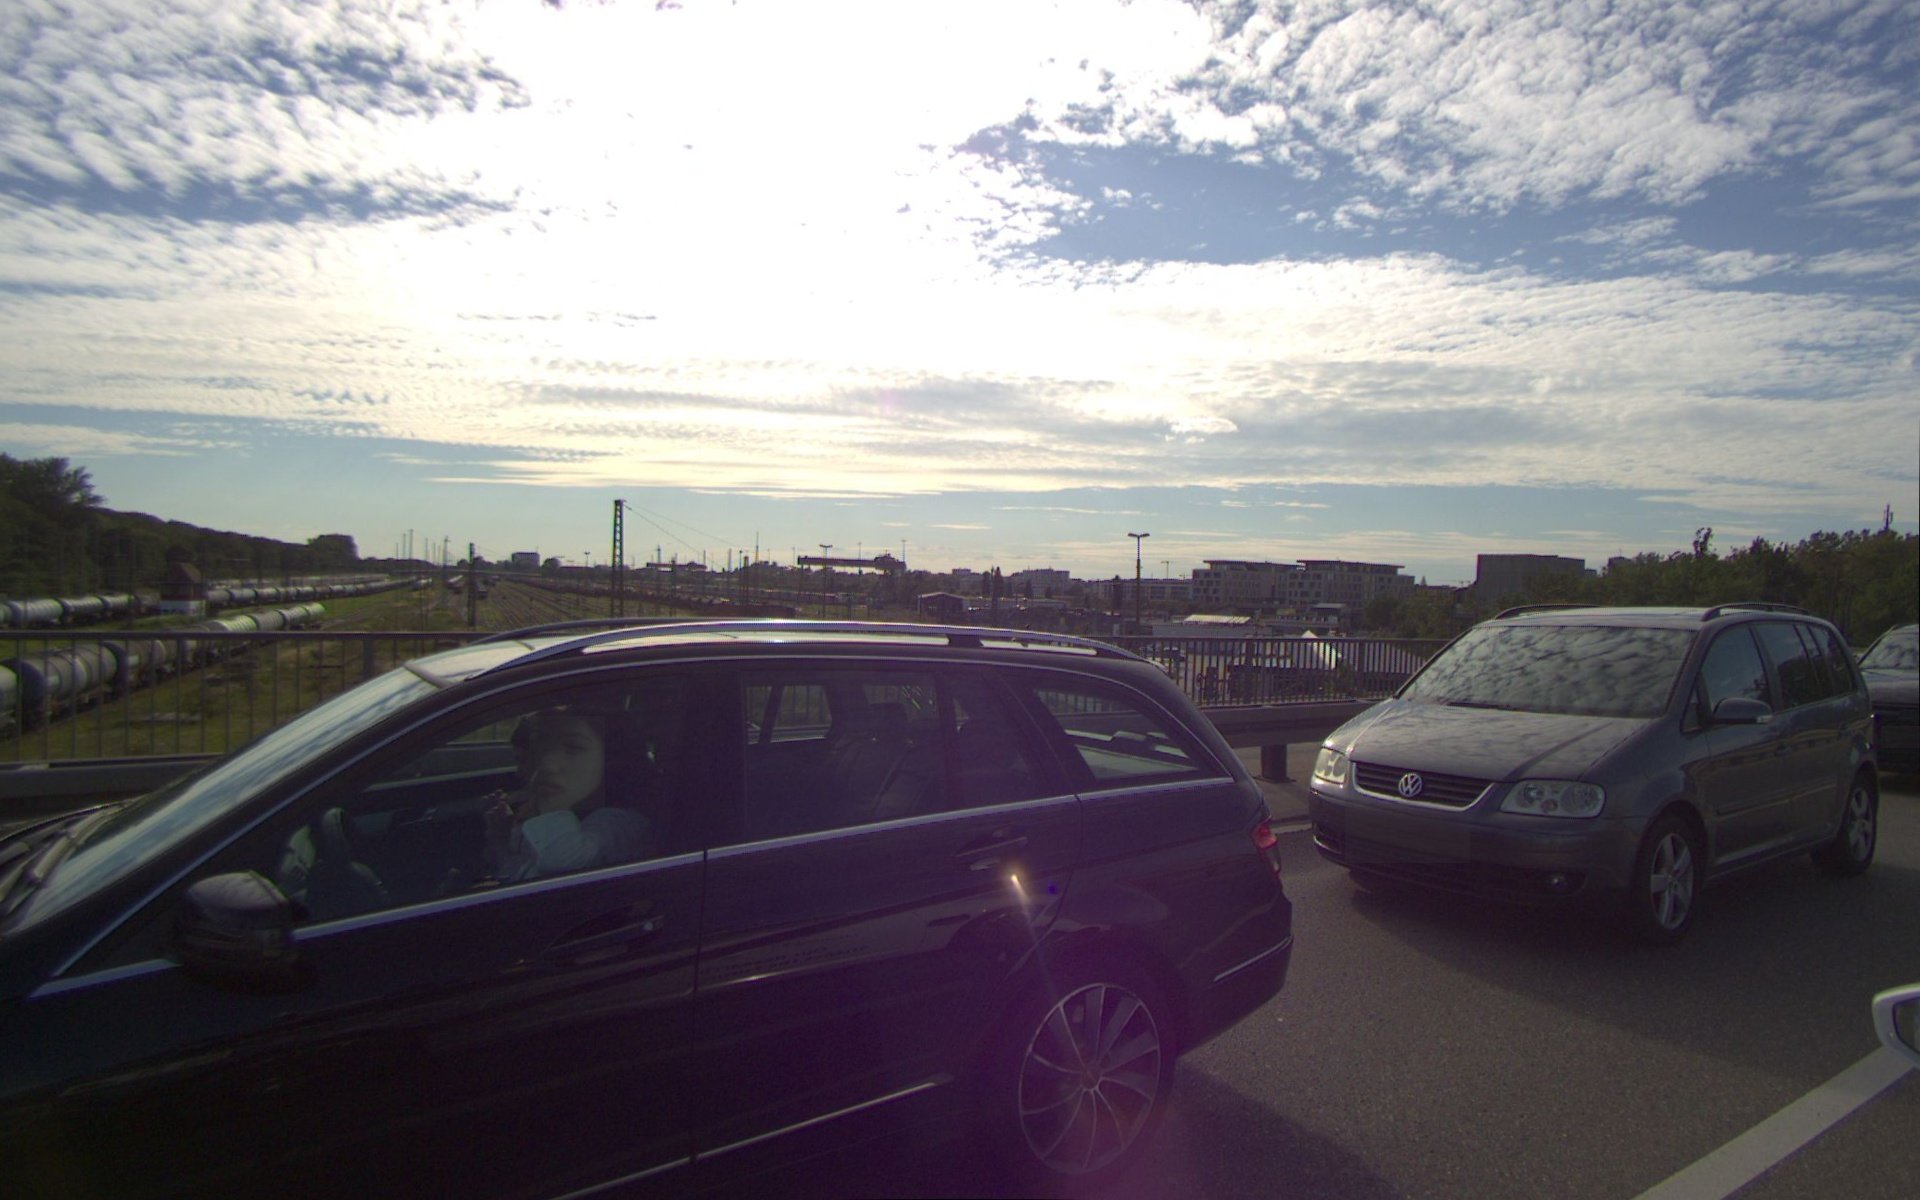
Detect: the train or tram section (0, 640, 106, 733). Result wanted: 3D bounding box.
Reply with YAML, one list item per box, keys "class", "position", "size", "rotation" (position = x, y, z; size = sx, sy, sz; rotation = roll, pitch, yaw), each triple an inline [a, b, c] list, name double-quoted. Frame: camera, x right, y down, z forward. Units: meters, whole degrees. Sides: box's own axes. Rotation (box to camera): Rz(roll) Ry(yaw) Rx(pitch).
- class: "train or tram section"
  position: [-58.560, 5.145, 63.793]
  size: [3.059, 4.774, 16.624]
  rotation: [2, -1, -28]

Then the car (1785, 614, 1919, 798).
- class: "car"
  position: [10.549, 1.024, 10.519]
  size: [4.545, 1.671, 1.912]
  rotation: [2, -2, -36]

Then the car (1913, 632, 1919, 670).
- class: "car"
  position: [46.324, 2.421, 47.034]
  size: [1.877, 1.834, 5.383]
  rotation: [0, -2, 37]

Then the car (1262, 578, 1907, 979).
- class: "car"
  position: [3.919, 0.809, 6.067]
  size: [4.252, 1.671, 1.672]
  rotation: [2, -2, -33]

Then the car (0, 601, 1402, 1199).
- class: "car"
  position: [-1.026, 0.781, 2.699]
  size: [4.465, 1.485, 1.824]
  rotation: [2, -2, -31]

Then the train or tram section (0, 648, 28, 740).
- class: "train or tram section"
  position: [-50.655, 5.019, 49.221]
  size: [3.059, 4.774, 16.624]
  rotation: [2, -1, -28]
